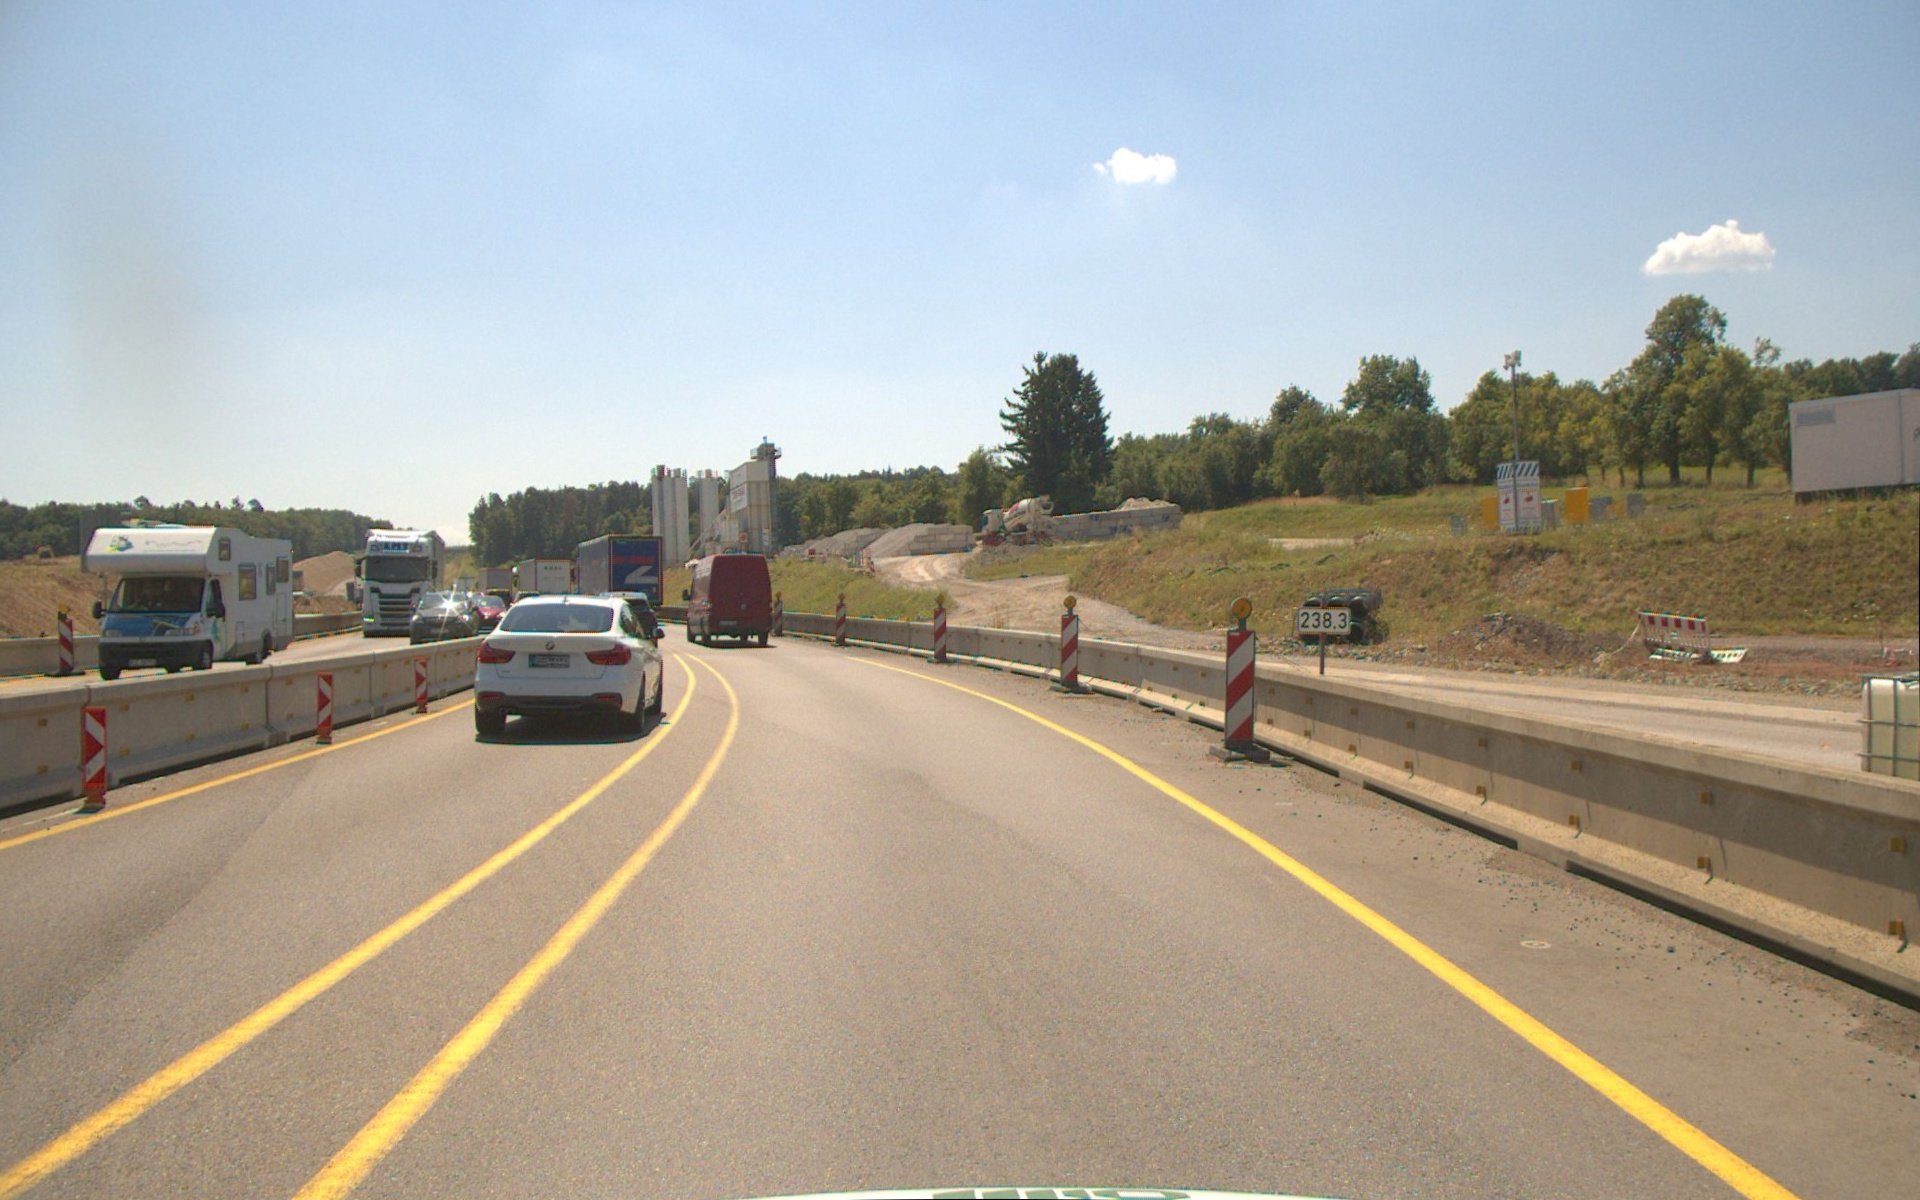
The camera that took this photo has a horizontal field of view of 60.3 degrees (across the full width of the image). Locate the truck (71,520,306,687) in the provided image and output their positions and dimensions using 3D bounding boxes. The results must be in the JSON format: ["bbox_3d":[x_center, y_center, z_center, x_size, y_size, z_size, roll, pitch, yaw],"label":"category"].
[{"bbox_3d":[-16.178,0.037,35.271,2.395,3.125,7.235,-2,1,-8],"label":"truck"}]

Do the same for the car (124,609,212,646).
[{"bbox_3d":[-34.944,1.202,73.019,1.522,1.480,3.179,-1,1,45],"label":"car"}]

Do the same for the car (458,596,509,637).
[{"bbox_3d":[-18.990,0.637,66.011,1.639,1.501,3.958,-2,1,-12],"label":"car"}]

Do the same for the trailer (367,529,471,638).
[{"bbox_3d":[-23.189,-0.690,71.574,2.712,4.186,13.934,-2,1,-12],"label":"trailer"}]

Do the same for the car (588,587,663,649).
[{"bbox_3d":[-9.065,0.451,45.012,1.762,1.561,3.923,-2,1,-9],"label":"car"}]

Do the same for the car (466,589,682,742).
[{"bbox_3d":[-4.434,0.665,19.729,1.760,1.561,5.068,0,1,-5],"label":"car"}]

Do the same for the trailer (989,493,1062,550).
[{"bbox_3d":[5.157,-6.159,130.933,2.725,4.186,6.683,-2,1,-28],"label":"trailer"}]

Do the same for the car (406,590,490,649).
[{"bbox_3d":[-15.337,0.553,49.722,1.629,1.633,4.389,-2,1,-8],"label":"car"}]

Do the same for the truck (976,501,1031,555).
[{"bbox_3d":[3.491,-5.811,134.129,2.714,4.167,4.062,-2,1,-28],"label":"truck"}]

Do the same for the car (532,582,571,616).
[{"bbox_3d":[-20.640,-0.067,83.491,1.773,1.607,3.982,-2,1,-16],"label":"car"}]

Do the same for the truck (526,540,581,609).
[{"bbox_3d":[-30.161,-1.855,122.515,3.622,4.773,9.715,-2,1,-14],"label":"truck"}]

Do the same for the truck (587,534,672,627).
[{"bbox_3d":[-16.213,-0.927,80.695,2.970,4.225,8.227,-2,1,-19],"label":"truck"}]

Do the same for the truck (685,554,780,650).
[{"bbox_3d":[-7.077,0.037,50.765,2.077,2.679,6.459,-2,1,-15],"label":"truck"}]

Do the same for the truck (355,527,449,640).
[{"bbox_3d":[-21.685,-0.631,64.531,2.654,4.132,5.485,-2,1,-11],"label":"truck"}]
